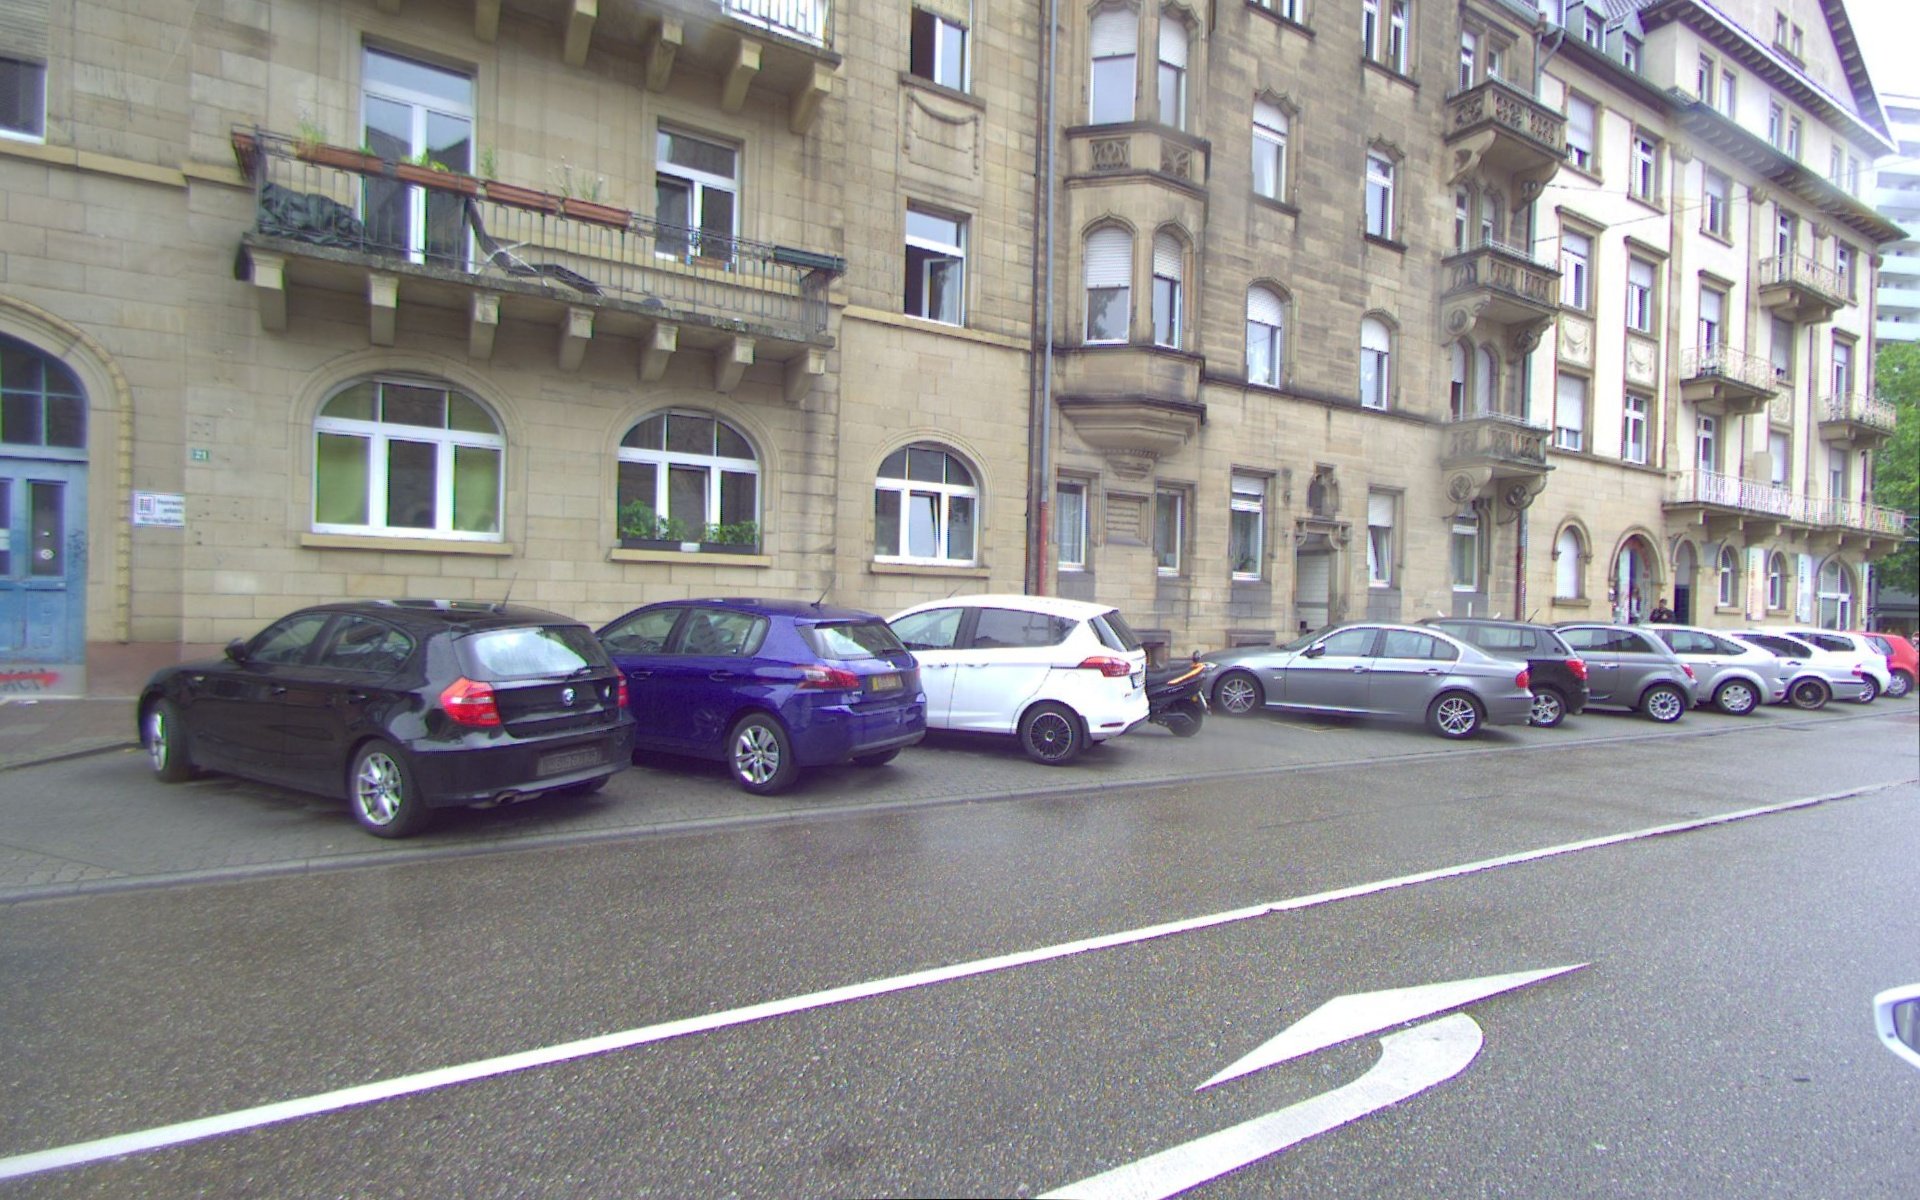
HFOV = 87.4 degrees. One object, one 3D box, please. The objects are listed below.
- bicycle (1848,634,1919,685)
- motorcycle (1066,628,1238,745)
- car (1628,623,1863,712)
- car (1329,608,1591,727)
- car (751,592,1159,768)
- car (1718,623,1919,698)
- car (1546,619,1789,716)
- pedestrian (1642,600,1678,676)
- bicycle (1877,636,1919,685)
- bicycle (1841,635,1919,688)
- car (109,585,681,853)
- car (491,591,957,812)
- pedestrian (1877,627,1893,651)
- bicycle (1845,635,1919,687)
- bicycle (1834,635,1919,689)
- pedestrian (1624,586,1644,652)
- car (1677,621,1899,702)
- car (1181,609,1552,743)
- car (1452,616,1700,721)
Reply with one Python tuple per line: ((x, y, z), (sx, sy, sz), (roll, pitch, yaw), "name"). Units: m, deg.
((25.213, 1.594, 27.117), (0.601, 1.283, 1.754), (1, -1, -31), "bicycle")
((2.262, 0.984, 11.866), (1.837, 1.177, 0.633), (3, 1, 23), "motorcycle")
((15.673, 1.291, 20.255), (3.337, 1.578, 1.705), (1, 0, 21), "car")
((7.672, 0.981, 15.746), (3.484, 1.619, 1.605), (1, 0, 21), "car")
((-0.013, 0.749, 10.737), (3.964, 1.576, 1.799), (1, -1, 20), "car")
((20.220, 1.378, 23.720), (3.337, 1.578, 1.705), (1, 0, 21), "car")
((12.965, 1.192, 18.656), (3.337, 1.578, 1.705), (1, 0, 21), "car")
((18.995, 1.016, 27.264), (0.647, 2.040, 0.565), (1, 0, -30), "pedestrian")
((26.131, 1.660, 27.251), (0.601, 1.283, 1.754), (1, -1, -31), "bicycle")
((23.956, 1.561, 25.899), (0.492, 1.283, 1.801), (1, -1, -31), "bicycle")
((-4.233, 0.690, 7.477), (3.969, 1.532, 1.797), (1, -1, 27), "car")
((-2.193, 0.748, 9.092), (3.972, 1.594, 1.795), (1, -1, 31), "car")
((60.254, 2.546, 65.415), (0.632, 1.550, 0.442), (1, 0, -12), "pedestrian")
((24.472, 1.586, 26.358), (0.492, 1.283, 1.801), (1, -1, -31), "bicycle")
((23.500, 1.556, 25.606), (0.516, 1.283, 1.754), (1, -1, -31), "bicycle")
((19.163, 0.537, 28.549), (0.343, 1.846, 0.364), (2, -1, -32), "pedestrian")
((17.951, 1.286, 21.971), (3.337, 1.578, 1.705), (1, 0, 21), "car")
((5.413, 0.960, 13.872), (4.457, 1.565, 1.689), (1, -1, 17), "car")
((10.366, 1.104, 17.175), (3.337, 1.578, 1.652), (1, 0, 21), "car")
